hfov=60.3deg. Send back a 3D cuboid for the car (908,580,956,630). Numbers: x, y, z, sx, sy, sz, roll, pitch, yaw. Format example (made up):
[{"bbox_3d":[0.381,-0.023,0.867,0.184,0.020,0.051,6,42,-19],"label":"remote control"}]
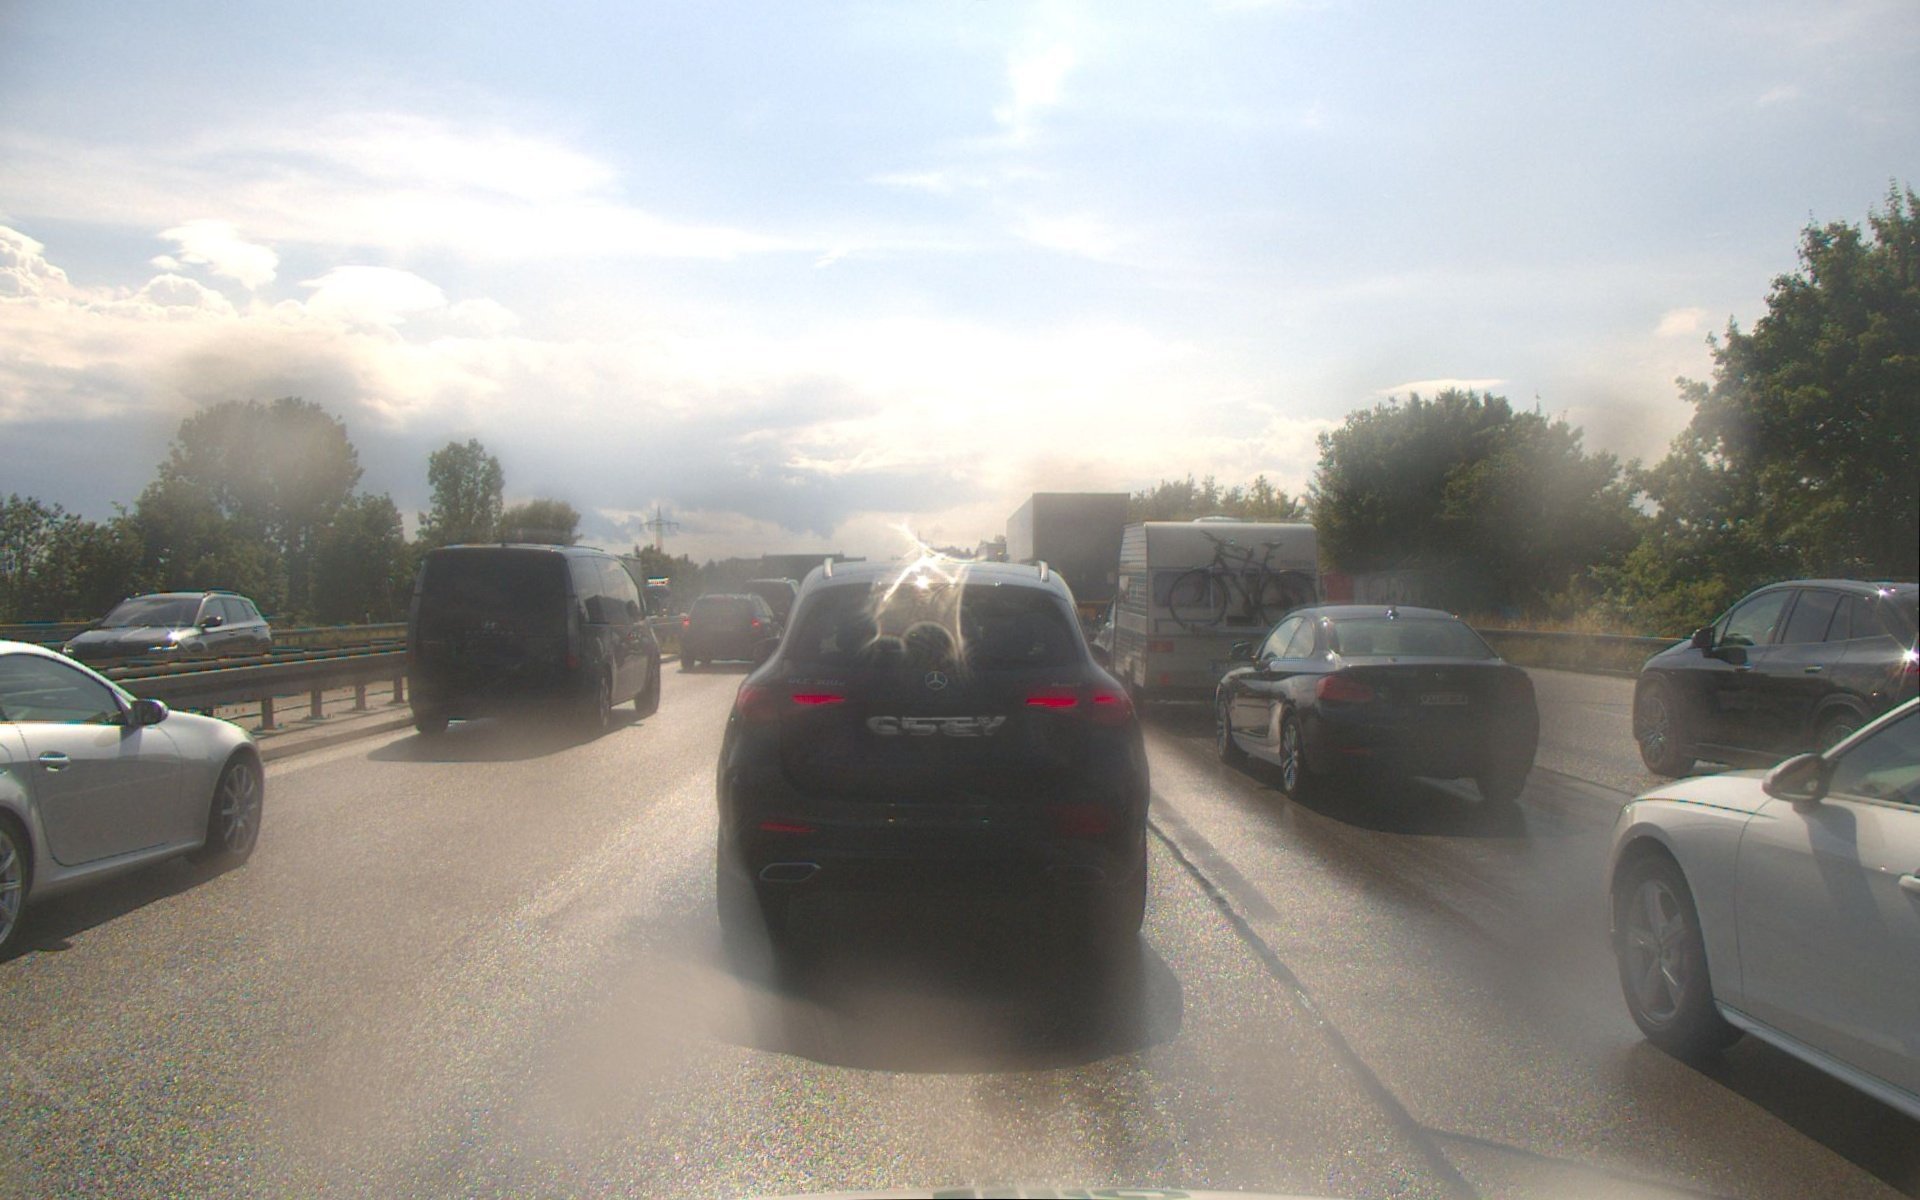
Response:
[{"bbox_3d":[-1.162,0.188,70.084,1.953,2.049,4.000,0,0,0],"label":"car"}]

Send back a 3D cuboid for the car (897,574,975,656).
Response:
[{"bbox_3d":[-0.596,0.371,43.839,1.953,2.049,4.000,1,0,0],"label":"car"}]

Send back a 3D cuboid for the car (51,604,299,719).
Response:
[{"bbox_3d":[-11.932,0.875,25.457,1.953,1.612,3.999,0,0,-1],"label":"car"}]

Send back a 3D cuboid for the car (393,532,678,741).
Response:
[{"bbox_3d":[-4.615,0.343,18.870,1.953,2.049,5.268,0,0,-1],"label":"car"}]

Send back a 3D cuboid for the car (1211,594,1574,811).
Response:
[{"bbox_3d":[3.327,0.710,13.607,1.811,1.489,4.255,0,0,-1],"label":"car"}]

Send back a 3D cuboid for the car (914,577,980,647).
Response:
[{"bbox_3d":[-0.414,0.375,53.901,1.953,2.048,4.000,4,0,0],"label":"car"}]

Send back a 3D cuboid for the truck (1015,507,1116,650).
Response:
[{"bbox_3d":[3.236,-0.638,51.965,2.933,4.239,5.241,1,0,1],"label":"truck"}]

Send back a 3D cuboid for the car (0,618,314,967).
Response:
[{"bbox_3d":[-4.585,0.768,7.595,1.689,1.300,4.063,0,0,-1],"label":"car"}]

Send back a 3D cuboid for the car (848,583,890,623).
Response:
[{"bbox_3d":[-4.745,0.143,86.831,1.953,2.049,4.000,1,0,0],"label":"car"}]

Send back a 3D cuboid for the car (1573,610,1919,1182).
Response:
[{"bbox_3d":[3.358,0.781,4.088,1.790,1.450,4.508,2,-1,-3],"label":"car"}]

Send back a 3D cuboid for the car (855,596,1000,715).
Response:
[{"bbox_3d":[-0.374,0.653,21.643,1.721,1.411,3.945,0,0,0],"label":"car"}]

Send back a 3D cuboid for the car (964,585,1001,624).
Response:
[{"bbox_3d":[1.205,0.242,90.608,1.953,2.049,4.000,2,0,0],"label":"car"}]

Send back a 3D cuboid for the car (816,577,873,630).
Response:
[{"bbox_3d":[-4.820,0.146,69.393,1.953,2.048,4.000,4,0,0],"label":"car"}]

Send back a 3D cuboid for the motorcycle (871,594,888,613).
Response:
[{"bbox_3d":[-5.627,0.246,115.649,1.052,1.293,2.690,0,0,0],"label":"motorcycle"}]

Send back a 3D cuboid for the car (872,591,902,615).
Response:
[{"bbox_3d":[-5.474,0.187,124.771,1.953,1.644,4.000,4,0,0],"label":"car"}]

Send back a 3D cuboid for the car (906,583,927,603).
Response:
[{"bbox_3d":[-4.037,-0.619,153.356,1.839,1.791,3.997,1,0,-3],"label":"car"}]

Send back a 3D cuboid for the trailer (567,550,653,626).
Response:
[{"bbox_3d":[-20.631,-0.670,98.106,2.944,4.175,10.474,-1,0,-1],"label":"trailer"}]

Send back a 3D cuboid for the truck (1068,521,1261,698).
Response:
[{"bbox_3d":[3.149,0.139,26.801,2.326,2.520,5.755,1,0,-1],"label":"truck"}]

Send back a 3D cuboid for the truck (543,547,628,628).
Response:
[{"bbox_3d":[-20.527,-0.671,91.062,2.944,4.175,7.684,-1,0,-1],"label":"truck"}]

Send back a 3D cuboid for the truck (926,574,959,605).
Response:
[{"bbox_3d":[-2.425,-1.406,224.890,3.767,4.087,11.210,1,0,-5],"label":"truck"}]

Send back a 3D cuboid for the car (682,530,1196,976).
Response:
[{"bbox_3d":[-0.104,0.582,8.495,1.953,1.690,4.405,0,0,-1],"label":"car"}]

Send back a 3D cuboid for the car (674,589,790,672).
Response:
[{"bbox_3d":[-4.507,0.562,33.179,1.721,1.543,4.209,0,0,0],"label":"car"}]

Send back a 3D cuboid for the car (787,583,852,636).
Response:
[{"bbox_3d":[-4.981,0.317,58.936,1.953,1.803,4.000,-1,0,0],"label":"car"}]

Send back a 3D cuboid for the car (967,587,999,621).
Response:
[{"bbox_3d":[1.470,0.252,107.233,1.953,2.048,4.000,4,0,0],"label":"car"}]

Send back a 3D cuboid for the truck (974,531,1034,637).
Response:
[{"bbox_3d":[2.072,-0.727,80.994,2.451,4.914,7.540,1,0,-2],"label":"truck"}]

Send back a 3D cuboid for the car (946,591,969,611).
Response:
[{"bbox_3d":[-0.237,0.060,154.589,1.839,1.791,3.997,1,0,-3],"label":"car"}]

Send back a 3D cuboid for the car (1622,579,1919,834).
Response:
[{"bbox_3d":[7.007,0.661,12.694,1.953,1.609,4.652,0,0,-1],"label":"car"}]

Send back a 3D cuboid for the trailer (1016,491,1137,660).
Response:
[{"bbox_3d":[3.102,-0.621,46.141,2.945,4.239,8.537,1,0,1],"label":"trailer"}]

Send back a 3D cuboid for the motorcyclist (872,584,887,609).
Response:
[{"bbox_3d":[-5.623,-0.251,115.809,1.042,1.748,0.785,0,0,0],"label":"motorcyclist"}]

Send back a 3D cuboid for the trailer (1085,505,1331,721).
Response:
[{"bbox_3d":[3.190,0.151,22.871,2.326,2.526,6.522,1,0,-1],"label":"trailer"}]

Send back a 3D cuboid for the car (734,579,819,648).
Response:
[{"bbox_3d":[-4.920,0.343,44.870,1.953,1.750,3.998,1,0,-2],"label":"car"}]
